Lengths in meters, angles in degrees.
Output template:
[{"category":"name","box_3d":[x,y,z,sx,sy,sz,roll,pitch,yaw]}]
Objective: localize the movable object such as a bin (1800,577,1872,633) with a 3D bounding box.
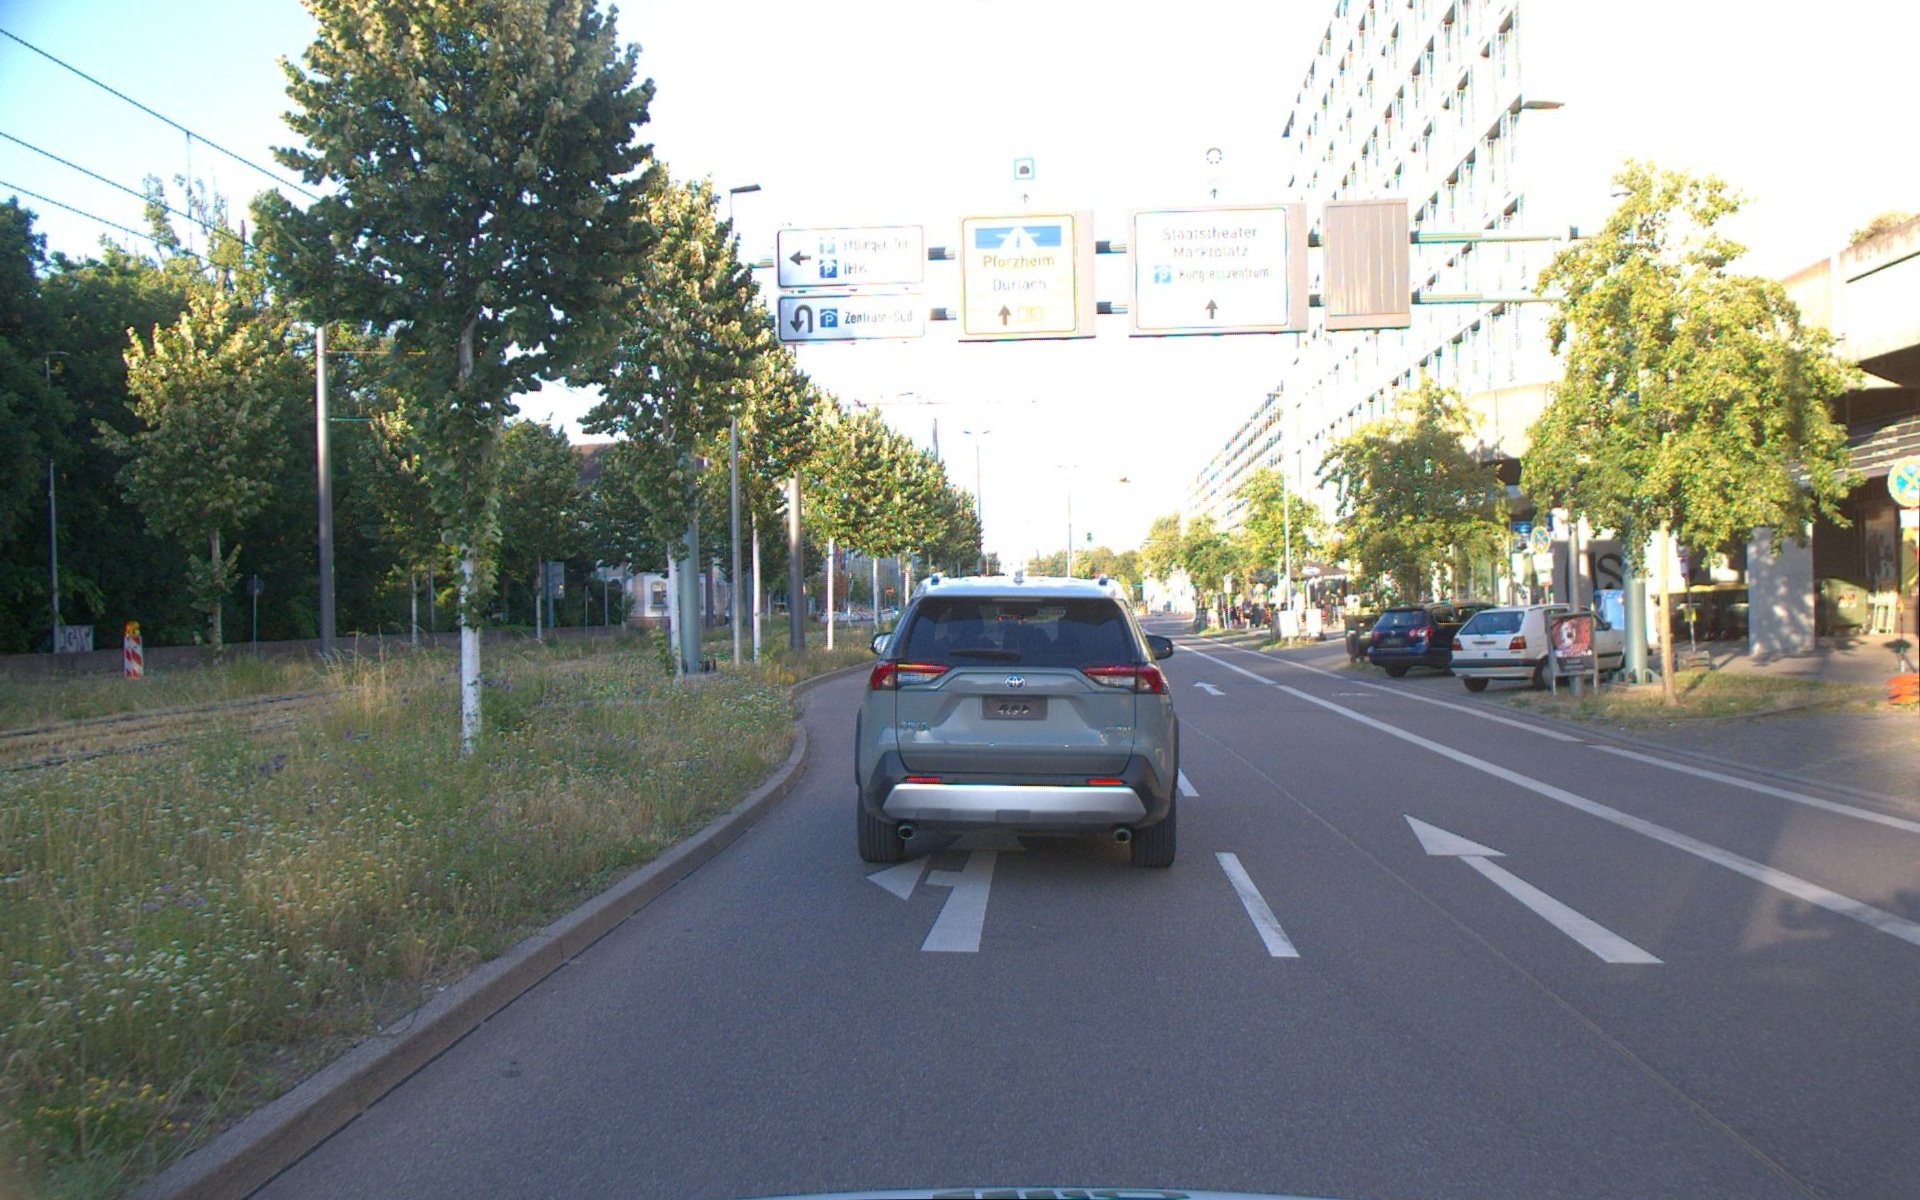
[{"category":"movable object such as a bin","box_3d":[21.512,0.119,40.639,1.157,1.336,1.088,-2,0,2]}]

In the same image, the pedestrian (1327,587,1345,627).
[{"category":"pedestrian","box_3d":[17.943,0.335,78.931,0.740,1.856,0.941,-3,-1,13]}]

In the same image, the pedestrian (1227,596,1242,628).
[{"category":"pedestrian","box_3d":[15.245,0.688,91.921,0.640,1.732,0.689,-3,0,3]}]

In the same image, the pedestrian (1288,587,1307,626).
[{"category":"pedestrian","box_3d":[17.242,0.340,84.510,0.807,1.921,0.867,-3,-2,12]}]

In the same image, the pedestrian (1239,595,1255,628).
[{"category":"pedestrian","box_3d":[15.967,0.627,91.992,0.671,1.765,0.761,-3,0,3]}]

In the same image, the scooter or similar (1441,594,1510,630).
[{"category":"scooter or similar","box_3d":[19.040,0.442,61.108,2.323,1.203,0.621,-3,0,3]}]

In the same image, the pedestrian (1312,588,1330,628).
[{"category":"pedestrian","box_3d":[17.256,0.375,79.003,0.728,1.881,0.941,-4,-1,13]}]

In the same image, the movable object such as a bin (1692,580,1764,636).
[{"category":"movable object such as a bin","box_3d":[18.865,0.199,40.655,1.157,1.321,1.305,-2,0,2]}]

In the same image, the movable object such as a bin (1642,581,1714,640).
[{"category":"movable object such as a bin","box_3d":[17.616,0.257,40.623,1.157,1.346,1.267,-4,0,2]}]

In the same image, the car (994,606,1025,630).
[{"category":"car","box_3d":[2.951,1.051,97.900,1.639,1.376,4.002,0,0,4]}]

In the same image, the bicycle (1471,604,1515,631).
[{"category":"bicycle","box_3d":[18.586,0.605,57.677,1.392,0.907,0.457,-2,0,3]}]

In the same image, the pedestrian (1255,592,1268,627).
[{"category":"pedestrian","box_3d":[15.671,0.498,85.923,0.564,1.817,0.829,-3,-2,11]}]

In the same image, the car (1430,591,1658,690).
[{"category":"car","box_3d":[10.196,0.683,28.799,3.945,1.441,1.730,-3,-1,-35]}]

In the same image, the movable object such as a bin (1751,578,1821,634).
[{"category":"movable object such as a bin","box_3d":[20.305,0.147,40.670,1.157,1.336,1.125,-2,0,2]}]

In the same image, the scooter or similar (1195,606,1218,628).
[{"category":"scooter or similar","box_3d":[14.263,0.980,95.841,1.185,1.222,0.480,-3,0,-1]}]

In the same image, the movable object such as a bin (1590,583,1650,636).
[{"category":"movable object such as a bin","box_3d":[17.965,0.257,45.059,1.082,1.353,1.283,-3,0,3]}]

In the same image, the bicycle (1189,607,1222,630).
[{"category":"bicycle","box_3d":[14.313,1.075,96.385,1.757,1.214,0.567,-3,0,-1]}]

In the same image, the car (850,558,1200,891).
[{"category":"car","box_3d":[0.463,0.636,10.665,1.795,1.702,4.284,0,0,4]}]

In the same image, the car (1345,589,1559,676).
[{"category":"car","box_3d":[10.506,0.678,35.215,4.618,1.534,1.915,-3,-1,-36]}]

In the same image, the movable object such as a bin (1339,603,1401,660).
[{"category":"movable object such as a bin","box_3d":[9.992,0.760,40.404,1.063,1.324,1.360,-3,0,-3]}]
